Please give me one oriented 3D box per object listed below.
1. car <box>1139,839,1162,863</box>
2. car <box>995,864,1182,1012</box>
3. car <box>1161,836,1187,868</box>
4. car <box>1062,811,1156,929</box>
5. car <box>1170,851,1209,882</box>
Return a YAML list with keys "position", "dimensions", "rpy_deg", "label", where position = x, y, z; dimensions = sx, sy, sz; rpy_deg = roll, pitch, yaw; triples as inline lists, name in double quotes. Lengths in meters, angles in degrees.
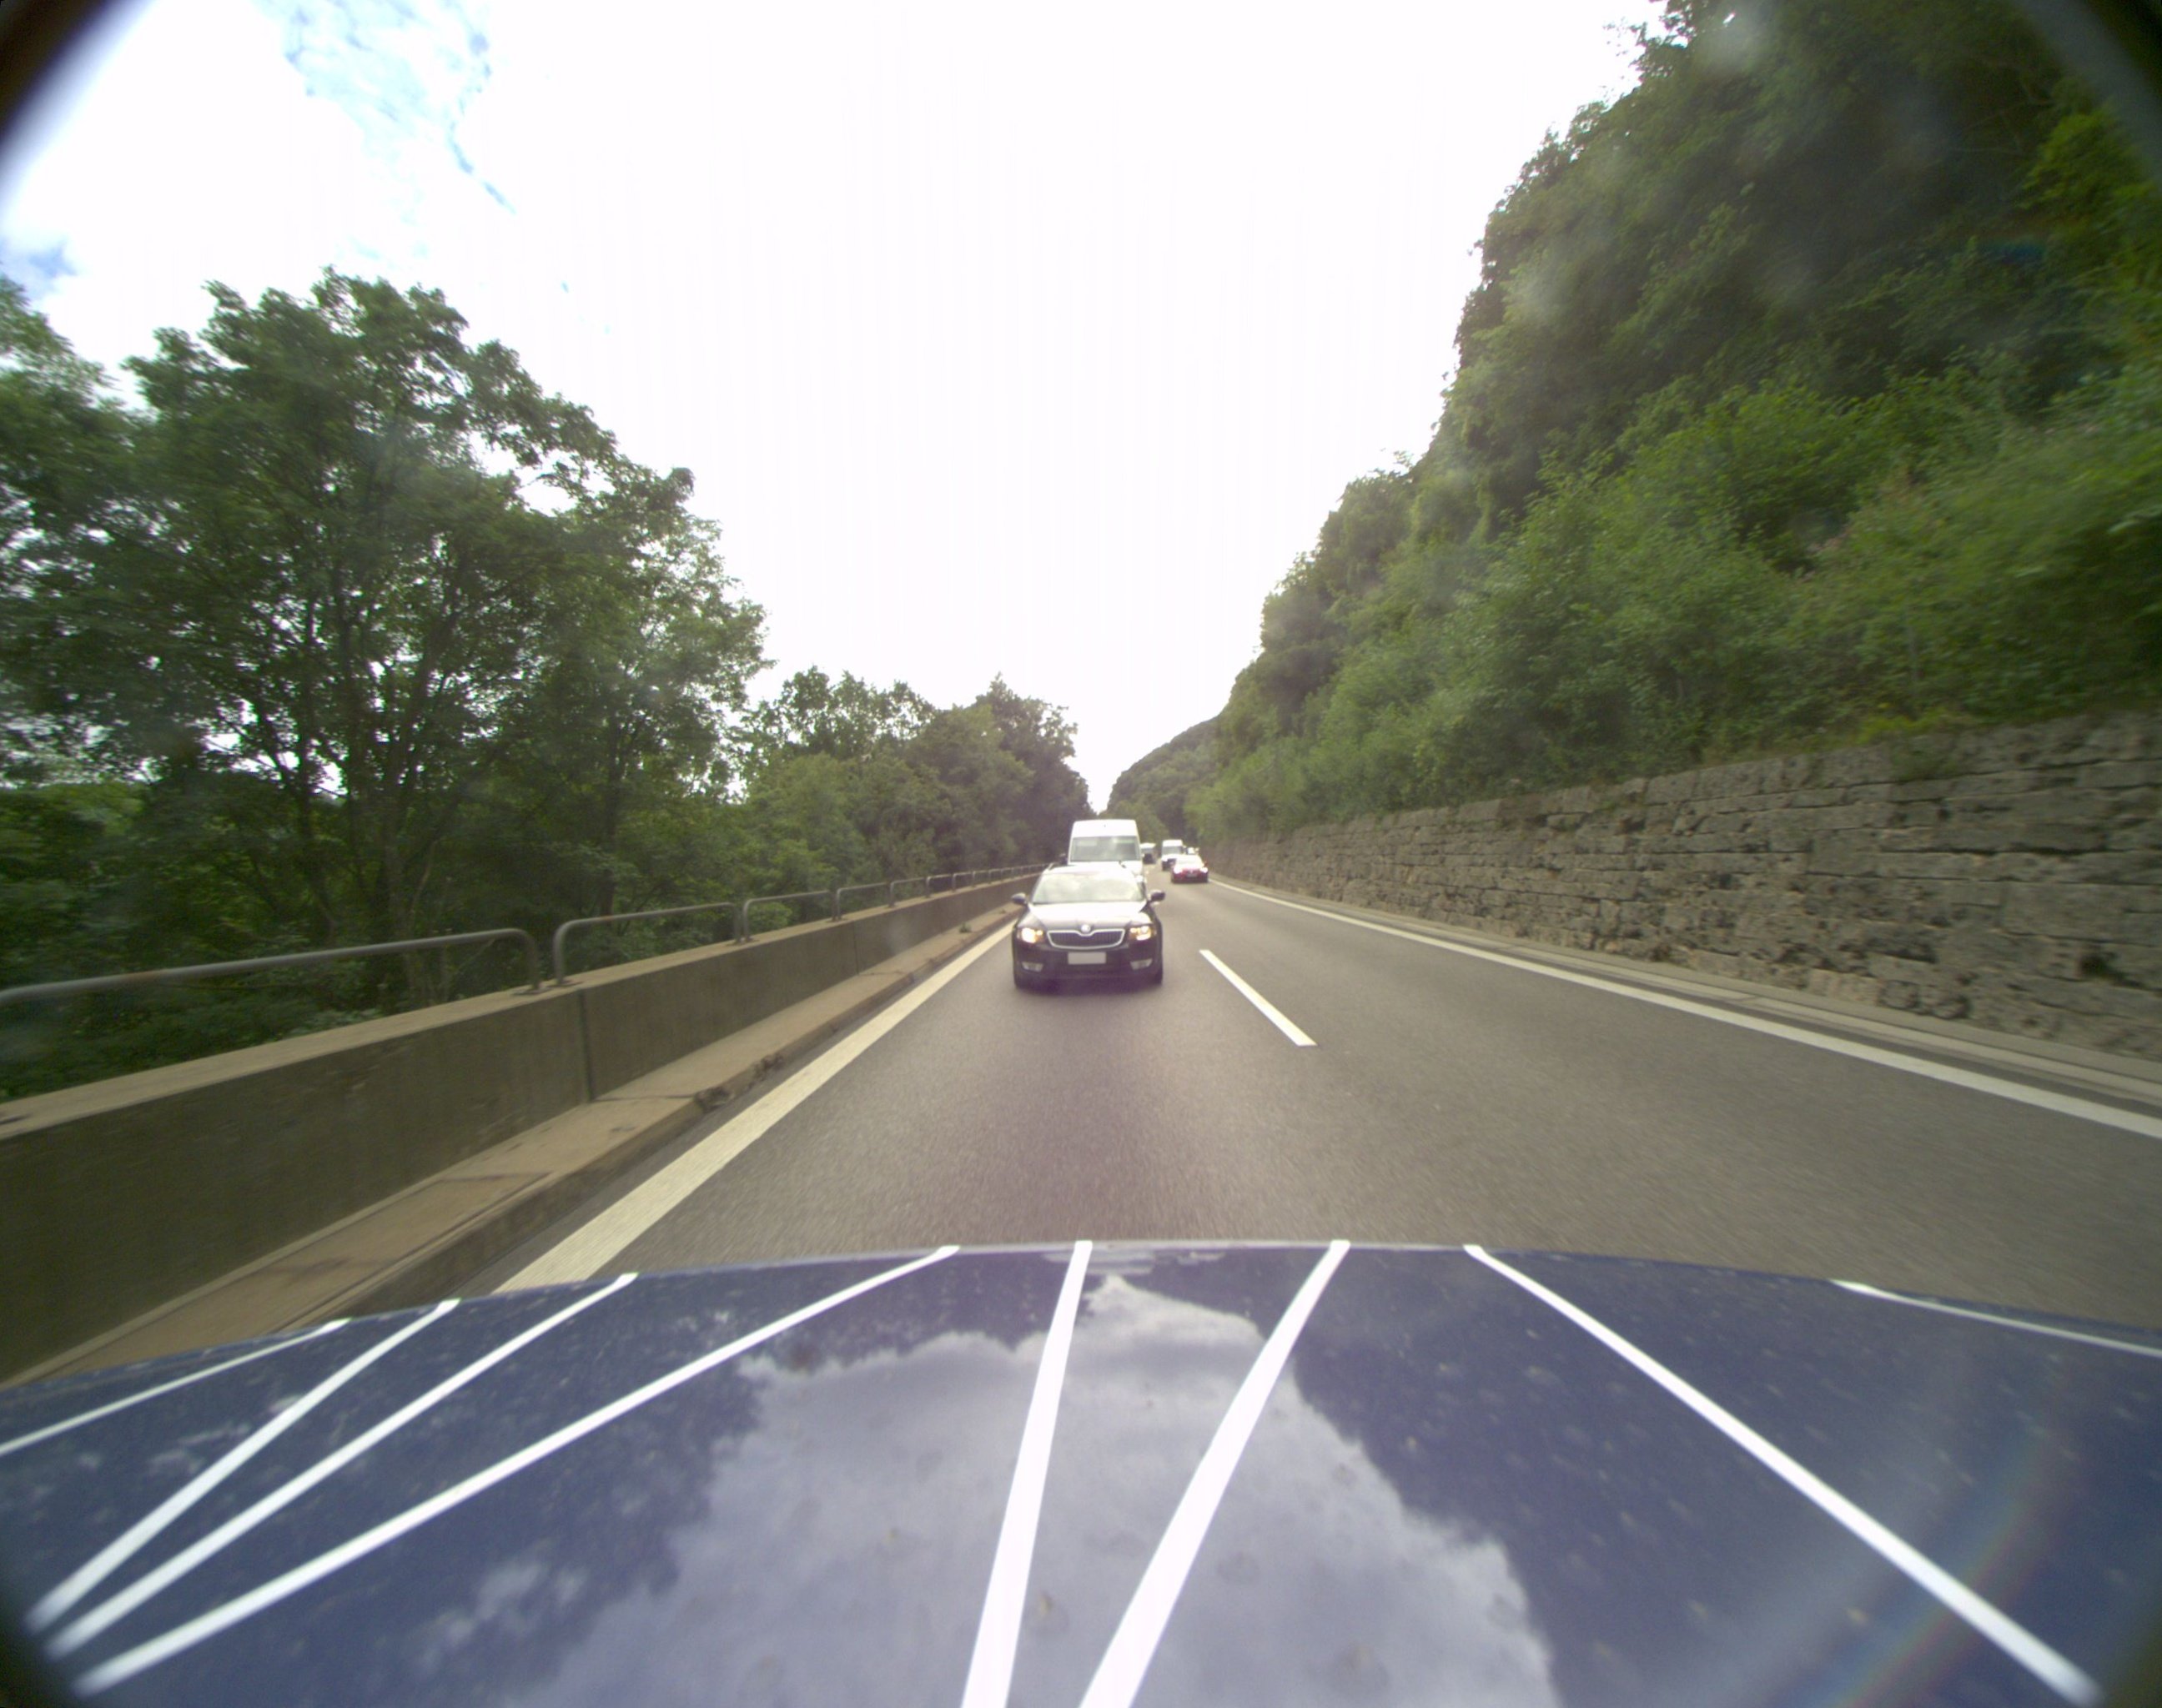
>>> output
- position: [9.223, -0.418, 100.167]
  dimensions: [2.275, 2.941, 7.191]
  rpy_deg: [-2, 0, 10]
  label: "car"
- position: [0.109, 0.925, 10.901]
  dimensions: [1.913, 1.391, 5.696]
  rpy_deg: [-3, 0, 1]
  label: "car"
- position: [8.065, -0.174, 65.917]
  dimensions: [2.030, 2.570, 6.277]
  rpy_deg: [-2, 0, 7]
  label: "car"
- position: [0.660, 0.330, 19.736]
  dimensions: [1.998, 2.550, 5.918]
  rpy_deg: [-2, 0, 1]
  label: "car"
- position: [5.634, 0.597, 39.865]
  dimensions: [1.770, 1.451, 4.412]
  rpy_deg: [-2, 0, 5]
  label: "car"
